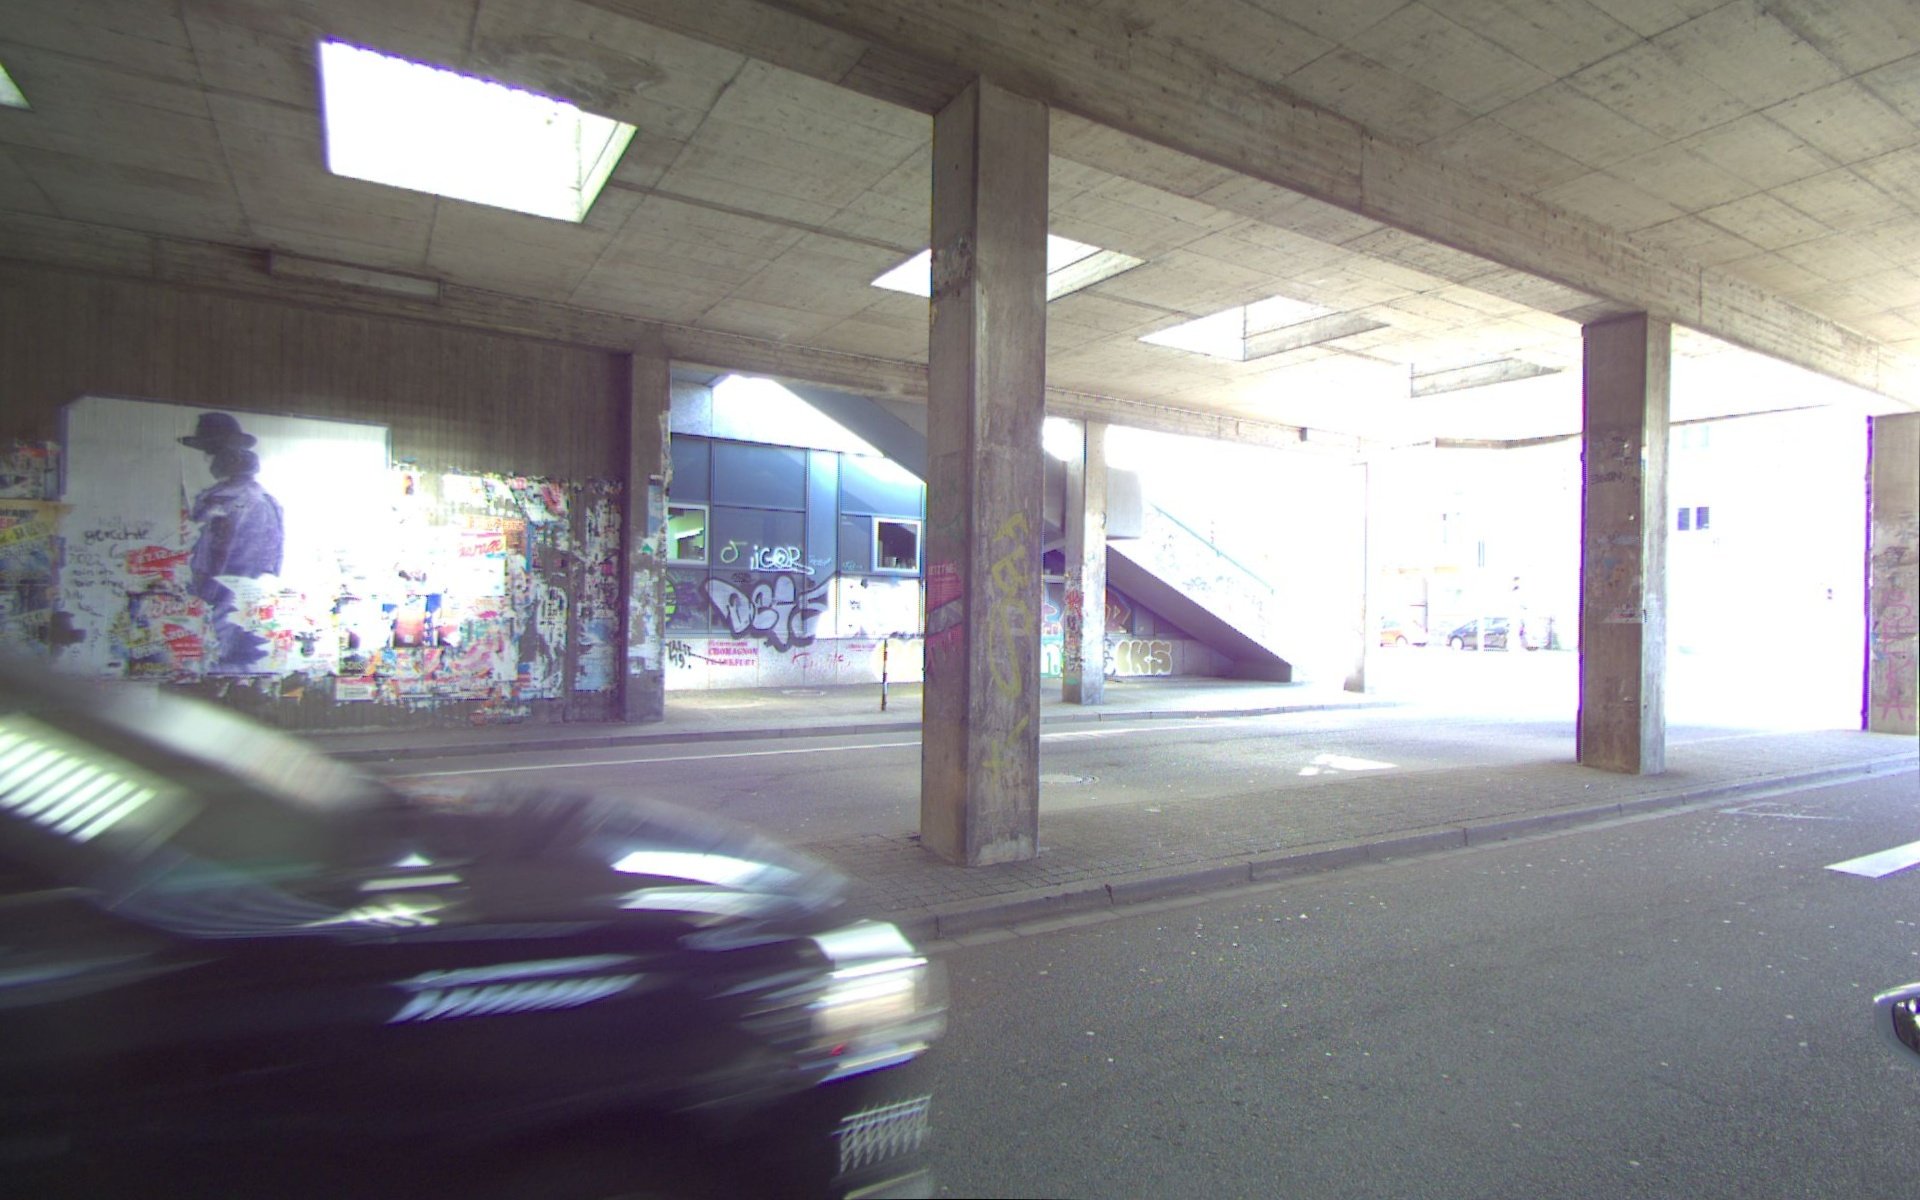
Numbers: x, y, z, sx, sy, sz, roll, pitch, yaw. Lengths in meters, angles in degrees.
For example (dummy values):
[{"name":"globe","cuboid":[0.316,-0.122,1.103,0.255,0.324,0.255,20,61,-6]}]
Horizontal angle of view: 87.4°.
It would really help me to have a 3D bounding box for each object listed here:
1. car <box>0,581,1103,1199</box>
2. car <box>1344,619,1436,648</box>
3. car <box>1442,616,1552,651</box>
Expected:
[{"name":"car","cuboid":[-1.949,0.696,1.590,4.131,1.466,1.770,1,0,-32]},{"name":"car","cuboid":[22.493,1.745,52.670,2.163,1.392,3.971,1,-1,-28]},{"name":"car","cuboid":[25.413,1.560,47.659,2.240,1.571,4.111,1,-1,-29]}]
